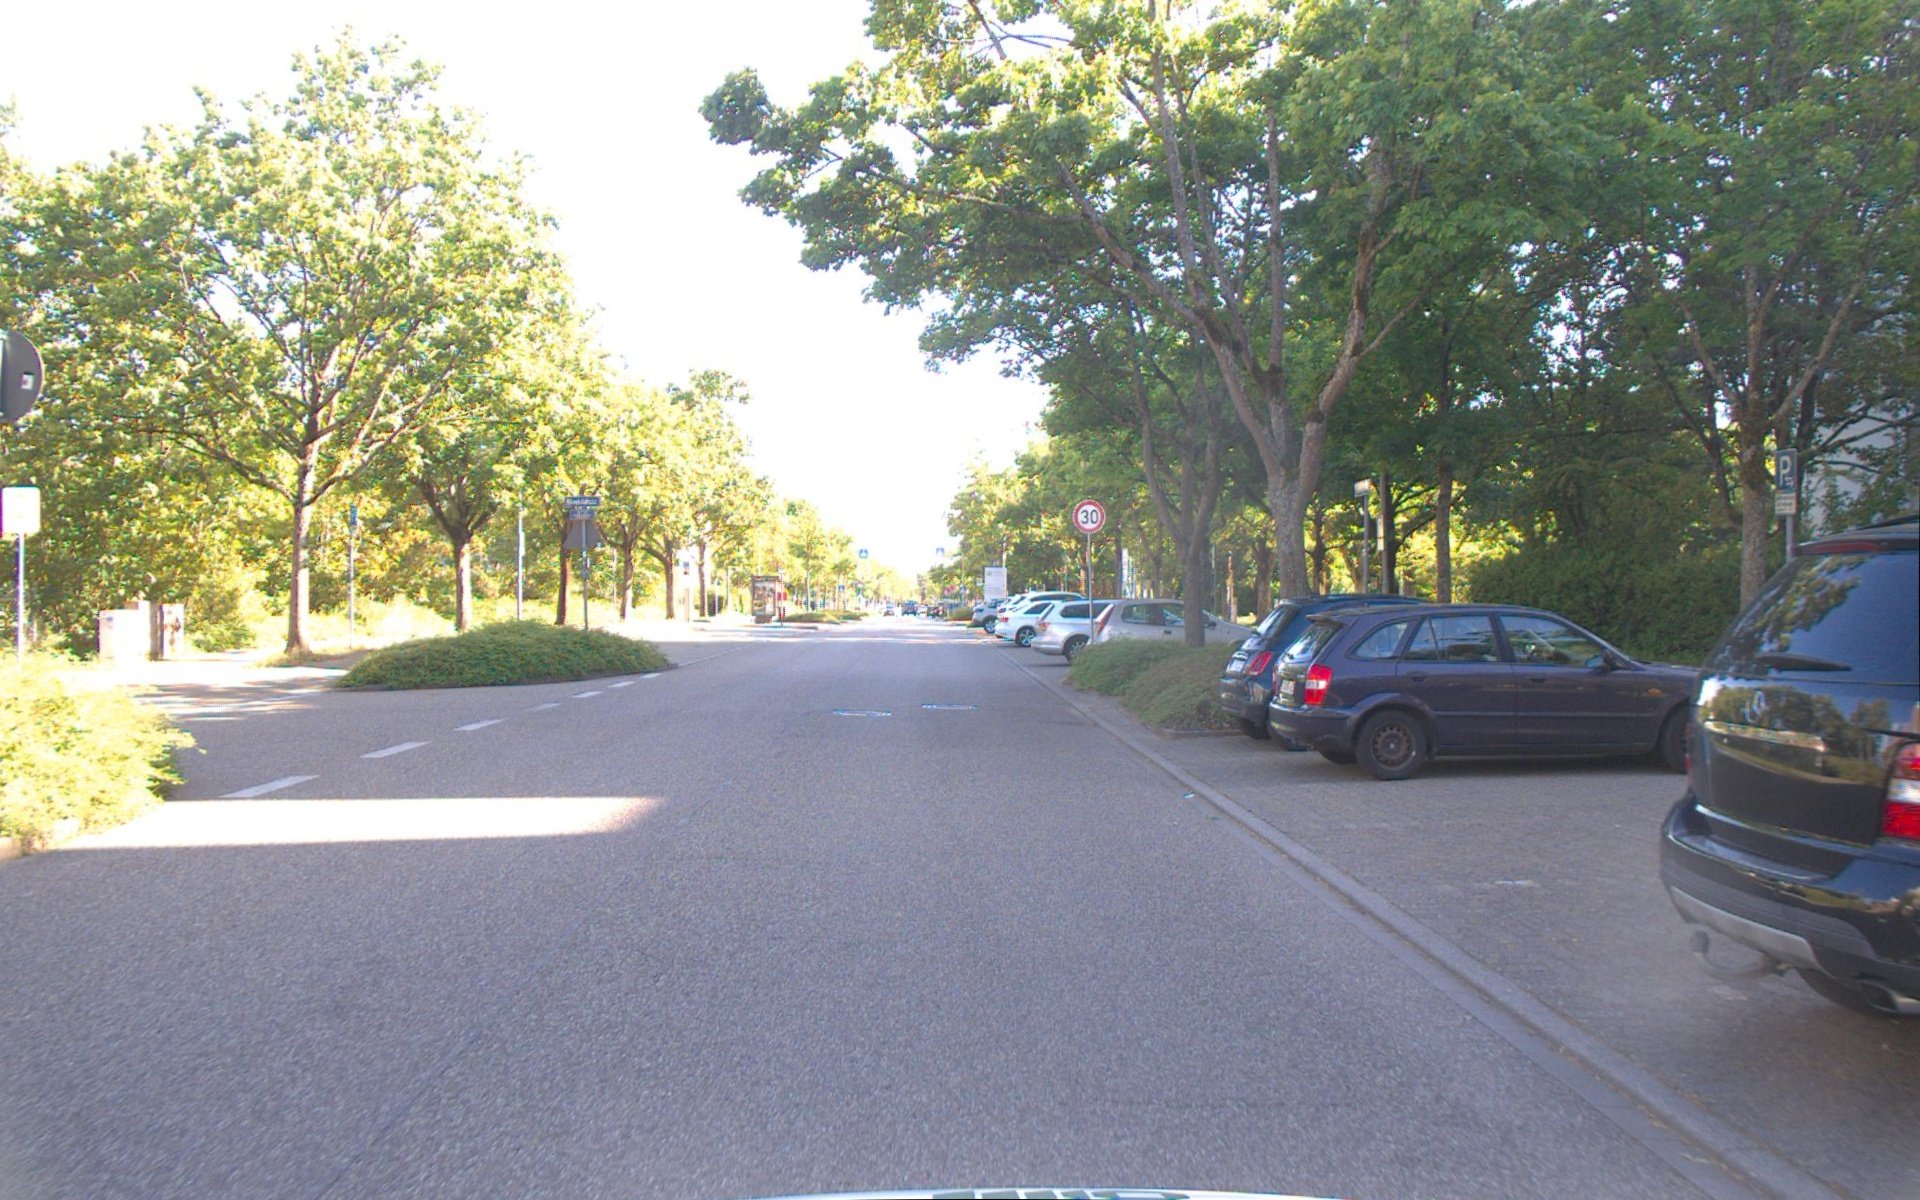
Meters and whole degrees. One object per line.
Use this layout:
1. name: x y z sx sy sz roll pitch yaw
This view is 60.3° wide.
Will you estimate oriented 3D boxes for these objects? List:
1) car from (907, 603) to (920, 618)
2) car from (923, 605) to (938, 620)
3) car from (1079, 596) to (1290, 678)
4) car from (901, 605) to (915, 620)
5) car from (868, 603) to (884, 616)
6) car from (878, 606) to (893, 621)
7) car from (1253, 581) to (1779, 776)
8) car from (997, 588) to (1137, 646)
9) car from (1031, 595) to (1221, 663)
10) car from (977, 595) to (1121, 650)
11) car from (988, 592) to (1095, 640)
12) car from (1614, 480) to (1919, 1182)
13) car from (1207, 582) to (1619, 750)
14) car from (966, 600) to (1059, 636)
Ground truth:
1. car: -6.930 1.557 247.066 1.953 2.049 3.999 1 0 -1
2. car: -4.118 1.702 228.741 1.953 2.049 3.999 1 0 -1
3. car: 4.396 0.711 32.754 3.906 1.476 1.717 -1 0 -1
4. car: -7.188 1.713 229.291 1.953 2.049 3.999 1 0 -1
5. car: -11.705 1.332 230.758 1.953 1.833 3.999 1 0 -1
6. car: -9.203 1.688 204.692 1.791 1.806 3.739 1 0 -1
7. car: 4.689 0.633 14.350 3.906 1.411 1.822 -2 0 -2
8. car: 3.485 0.544 54.159 4.347 1.676 1.815 -2 0 -3
9. car: 3.728 0.652 37.534 4.185 1.453 1.828 1 0 3
10. car: 2.738 0.692 51.436 4.256 1.515 1.737 -2 0 -3
11. car: 2.869 0.568 58.952 3.615 1.549 1.649 -2 0 -3
12. car: 4.694 0.553 5.163 4.494 1.810 1.999 -1 0 -1
13. car: 4.610 0.645 17.130 3.734 1.525 1.700 -2 0 -5
14. car: 2.375 0.797 75.794 4.080 1.453 1.999 -2 0 -2
